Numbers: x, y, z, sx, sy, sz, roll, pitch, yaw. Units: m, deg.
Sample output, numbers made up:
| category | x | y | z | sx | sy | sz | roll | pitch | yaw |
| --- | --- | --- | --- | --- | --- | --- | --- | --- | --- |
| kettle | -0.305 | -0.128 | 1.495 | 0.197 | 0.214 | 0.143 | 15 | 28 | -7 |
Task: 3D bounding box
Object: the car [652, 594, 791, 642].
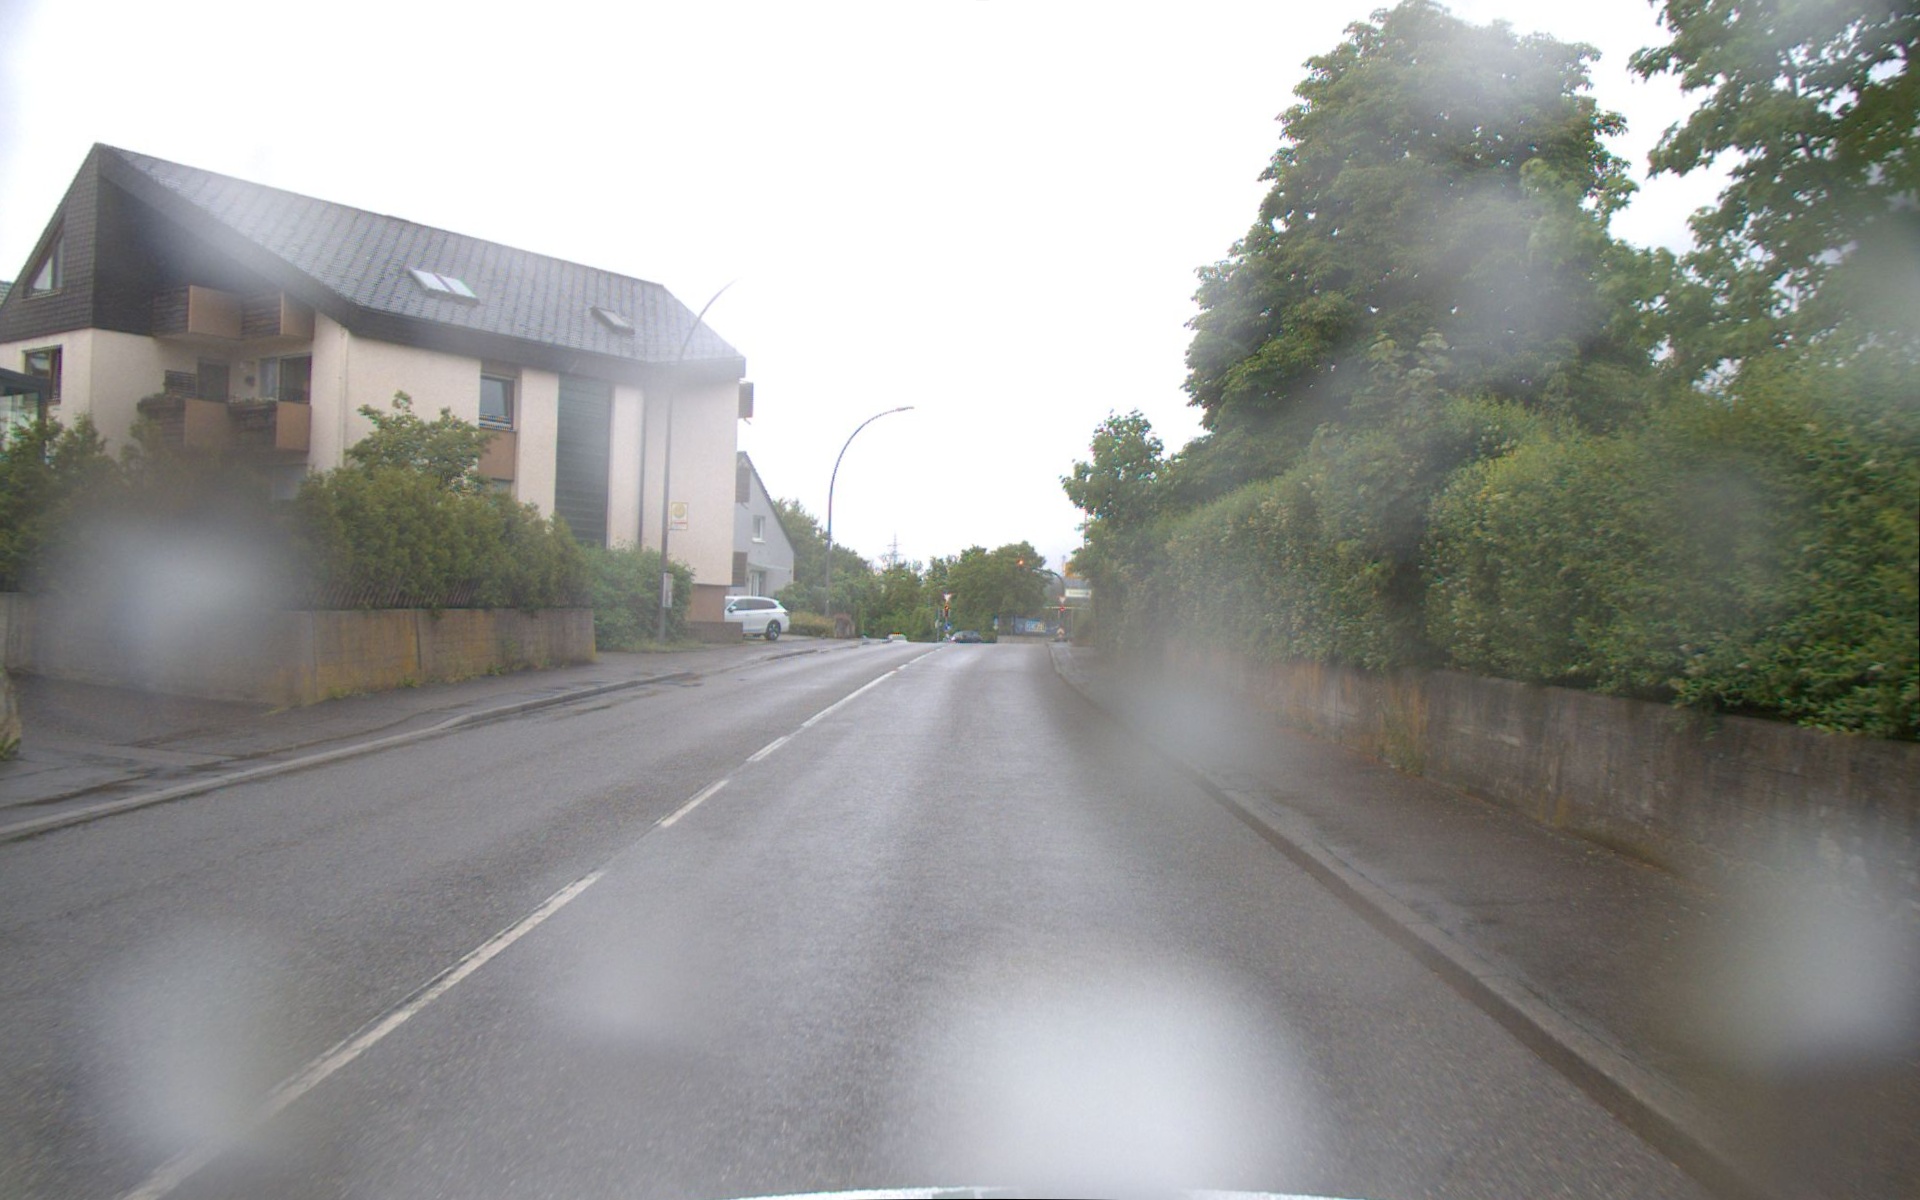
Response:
| category | x | y | z | sx | sy | sz | roll | pitch | yaw |
| --- | --- | --- | --- | --- | --- | --- | --- | --- | --- |
| car | -8.151 | 0.645 | 56.882 | 1.869 | 1.503 | 4.864 | 3 | 0 | 35 |
